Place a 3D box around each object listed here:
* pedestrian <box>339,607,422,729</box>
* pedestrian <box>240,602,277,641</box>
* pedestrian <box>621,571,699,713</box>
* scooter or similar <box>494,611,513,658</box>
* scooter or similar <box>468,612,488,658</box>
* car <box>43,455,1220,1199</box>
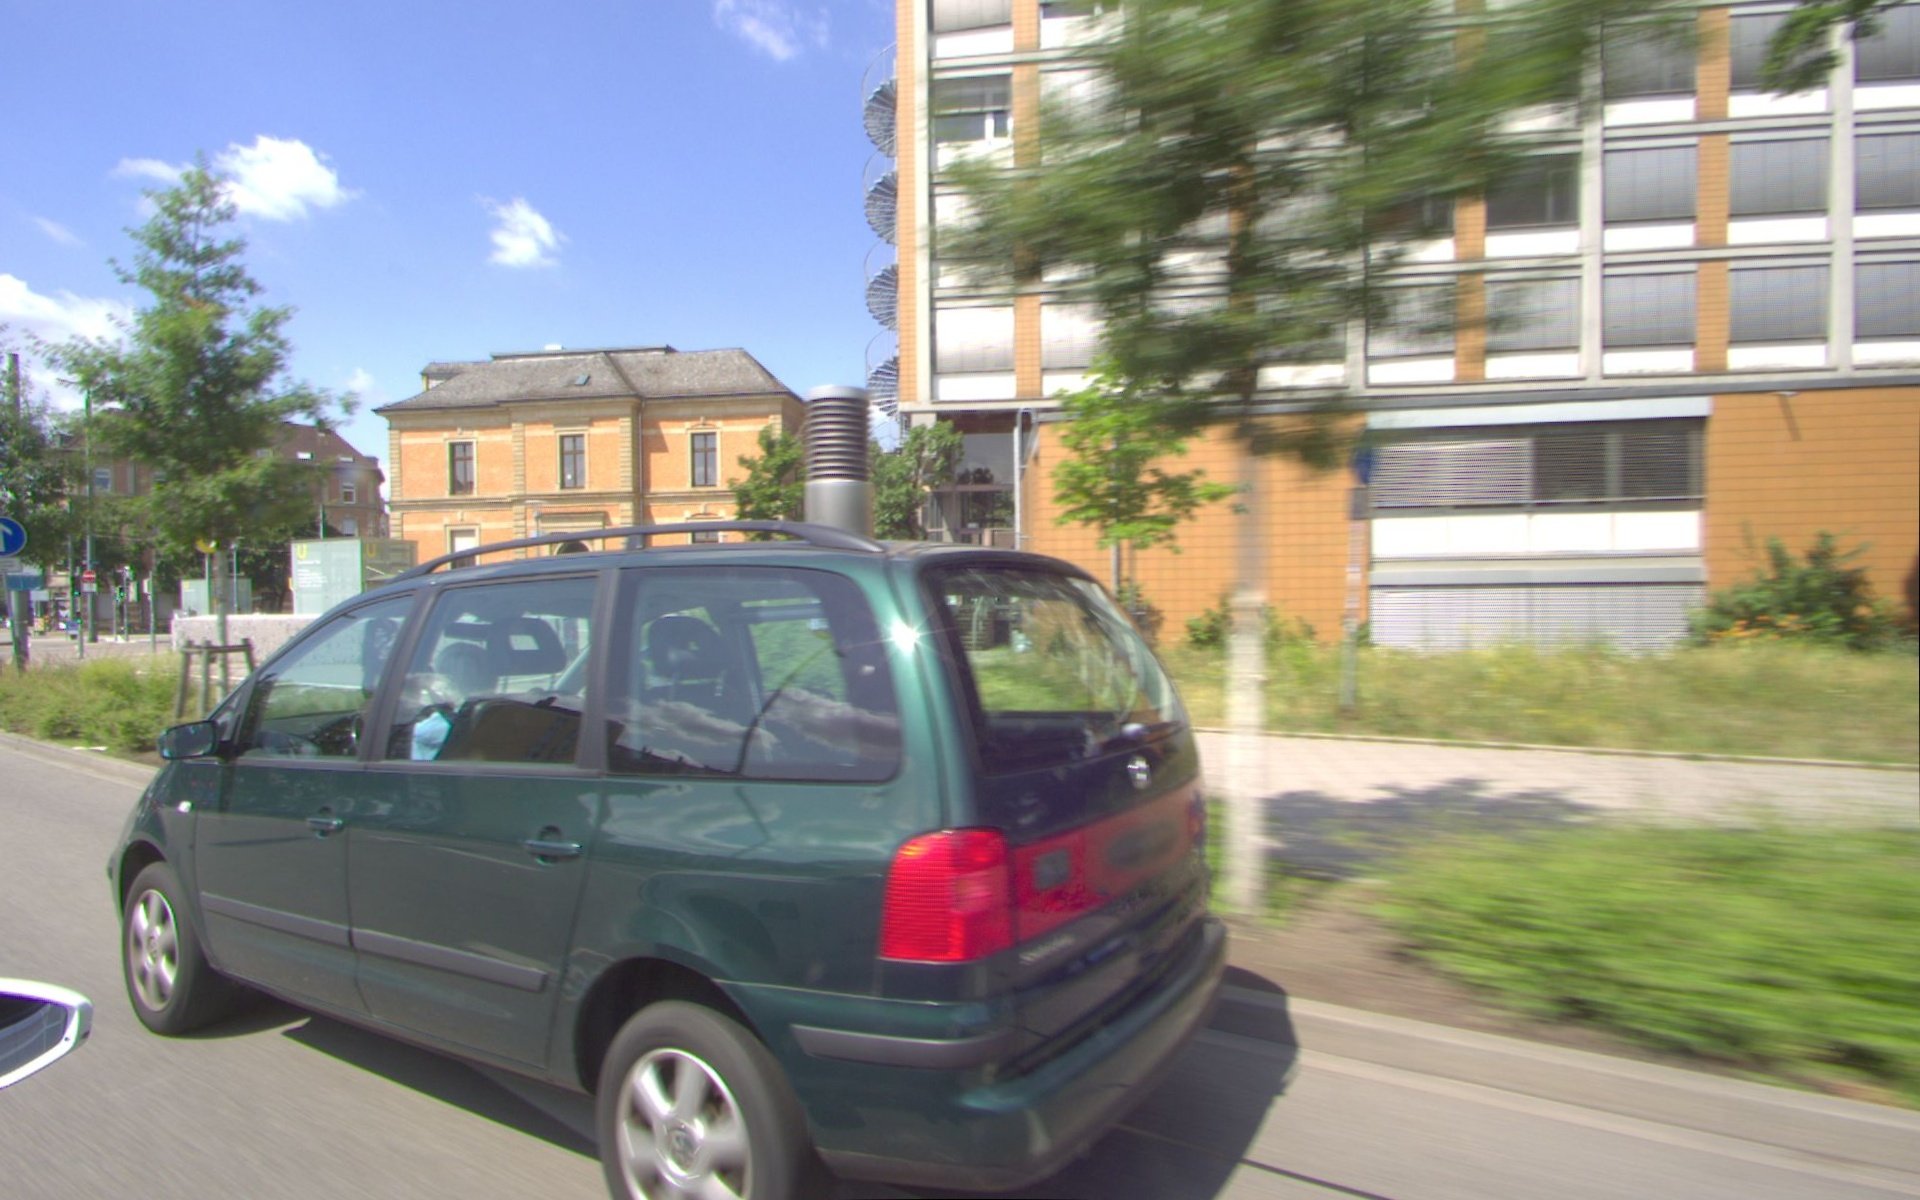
[{"bbox_3d":[-7.991,0.921,13.808,0.751,1.610,0.753,-2,-1,36],"label":"pedestrian"},{"bbox_3d":[-31.272,0.956,44.629,0.847,1.680,0.966,-3,1,3],"label":"pedestrian"},{"bbox_3d":[-4.052,0.564,13.532,0.665,1.844,0.754,-1,-1,33],"label":"pedestrian"},{"bbox_3d":[-11.815,0.883,25.925,0.227,1.139,1.449,-1,1,-16],"label":"scooter or similar"},{"bbox_3d":[-12.646,0.903,26.294,0.227,1.139,1.280,-1,1,-16],"label":"scooter or similar"},{"bbox_3d":[-1.457,0.683,3.734,4.384,1.745,1.791,-1,-2,32],"label":"car"}]
